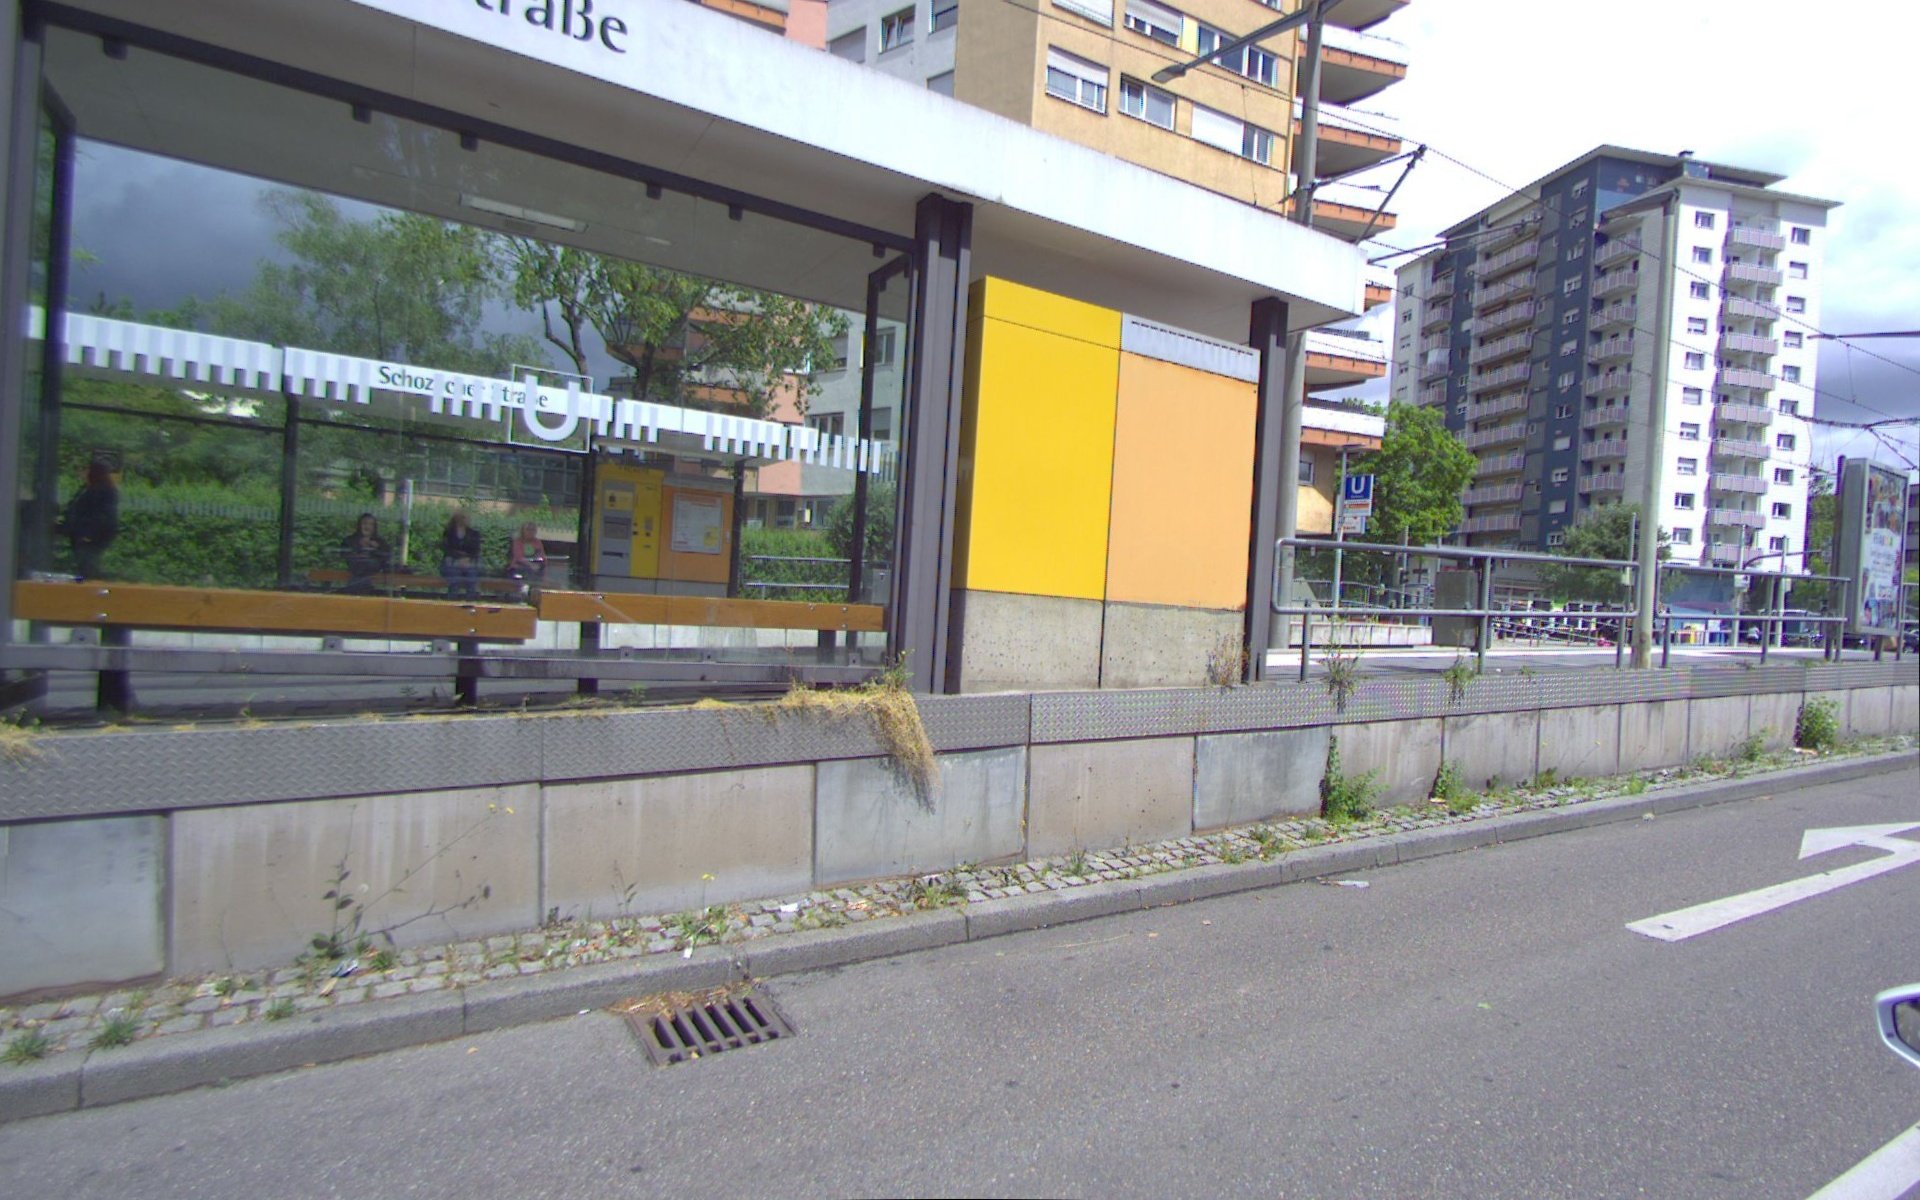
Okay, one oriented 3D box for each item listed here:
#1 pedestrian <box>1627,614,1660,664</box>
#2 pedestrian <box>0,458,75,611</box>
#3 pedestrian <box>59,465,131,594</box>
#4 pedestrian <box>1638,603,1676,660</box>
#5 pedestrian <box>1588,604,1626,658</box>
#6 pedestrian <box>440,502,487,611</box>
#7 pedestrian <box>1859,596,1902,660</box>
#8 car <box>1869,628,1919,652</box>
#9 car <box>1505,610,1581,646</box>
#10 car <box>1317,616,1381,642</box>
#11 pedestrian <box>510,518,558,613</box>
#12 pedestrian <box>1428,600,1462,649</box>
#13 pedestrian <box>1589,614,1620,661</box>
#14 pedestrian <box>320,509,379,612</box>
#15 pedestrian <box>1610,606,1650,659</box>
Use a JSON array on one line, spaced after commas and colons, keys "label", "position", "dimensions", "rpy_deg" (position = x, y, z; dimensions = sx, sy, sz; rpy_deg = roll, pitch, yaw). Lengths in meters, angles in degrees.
[{"label": "pedestrian", "position": [19.364, 1.094, 28.475], "dimensions": [0.677, 1.360, 0.859], "rpy_deg": [1, 0, 29]}, {"label": "pedestrian", "position": [-10.420, -0.711, 11.276], "dimensions": [0.512, 1.666, 0.564], "rpy_deg": [1, 0, 28]}, {"label": "pedestrian", "position": [-9.866, -0.786, 11.478], "dimensions": [0.517, 1.397, 0.537], "rpy_deg": [4, -2, -39]}, {"label": "pedestrian", "position": [21.565, 0.972, 31.076], "dimensions": [0.818, 1.729, 0.676], "rpy_deg": [1, 0, -32]}, {"label": "pedestrian", "position": [19.434, 0.934, 30.180], "dimensions": [0.763, 1.604, 0.606], "rpy_deg": [1, 0, -23]}, {"label": "pedestrian", "position": [-6.556, -0.554, 13.258], "dimensions": [0.501, 1.387, 0.640], "rpy_deg": [1, 0, -30]}, {"label": "pedestrian", "position": [24.190, 0.721, 26.398], "dimensions": [0.630, 1.654, 0.697], "rpy_deg": [1, -1, -30]}, {"label": "car", "position": [62.637, 2.676, 66.385], "dimensions": [1.602, 1.482, 3.576], "rpy_deg": [1, 0, -38]}, {"label": "car", "position": [33.747, 1.596, 58.155], "dimensions": [3.663, 2.040, 1.806], "rpy_deg": [0, -1, 37]}, {"label": "car", "position": [26.215, 1.944, 67.779], "dimensions": [1.726, 1.702, 3.661], "rpy_deg": [1, 0, -34]}, {"label": "pedestrian", "position": [-5.841, -0.461, 13.757], "dimensions": [0.511, 1.253, 0.739], "rpy_deg": [1, 0, -29]}, {"label": "pedestrian", "position": [17.600, 0.887, 36.455], "dimensions": [0.677, 1.719, 0.858], "rpy_deg": [1, 0, -11]}, {"label": "pedestrian", "position": [18.852, 1.086, 29.381], "dimensions": [0.543, 1.360, 0.669], "rpy_deg": [1, 0, 12]}, {"label": "pedestrian", "position": [-7.737, -0.487, 12.721], "dimensions": [0.539, 1.253, 0.515], "rpy_deg": [1, 0, -42]}, {"label": "pedestrian", "position": [20.661, 0.997, 30.974], "dimensions": [0.618, 1.599, 0.851], "rpy_deg": [1, 0, -38]}]
